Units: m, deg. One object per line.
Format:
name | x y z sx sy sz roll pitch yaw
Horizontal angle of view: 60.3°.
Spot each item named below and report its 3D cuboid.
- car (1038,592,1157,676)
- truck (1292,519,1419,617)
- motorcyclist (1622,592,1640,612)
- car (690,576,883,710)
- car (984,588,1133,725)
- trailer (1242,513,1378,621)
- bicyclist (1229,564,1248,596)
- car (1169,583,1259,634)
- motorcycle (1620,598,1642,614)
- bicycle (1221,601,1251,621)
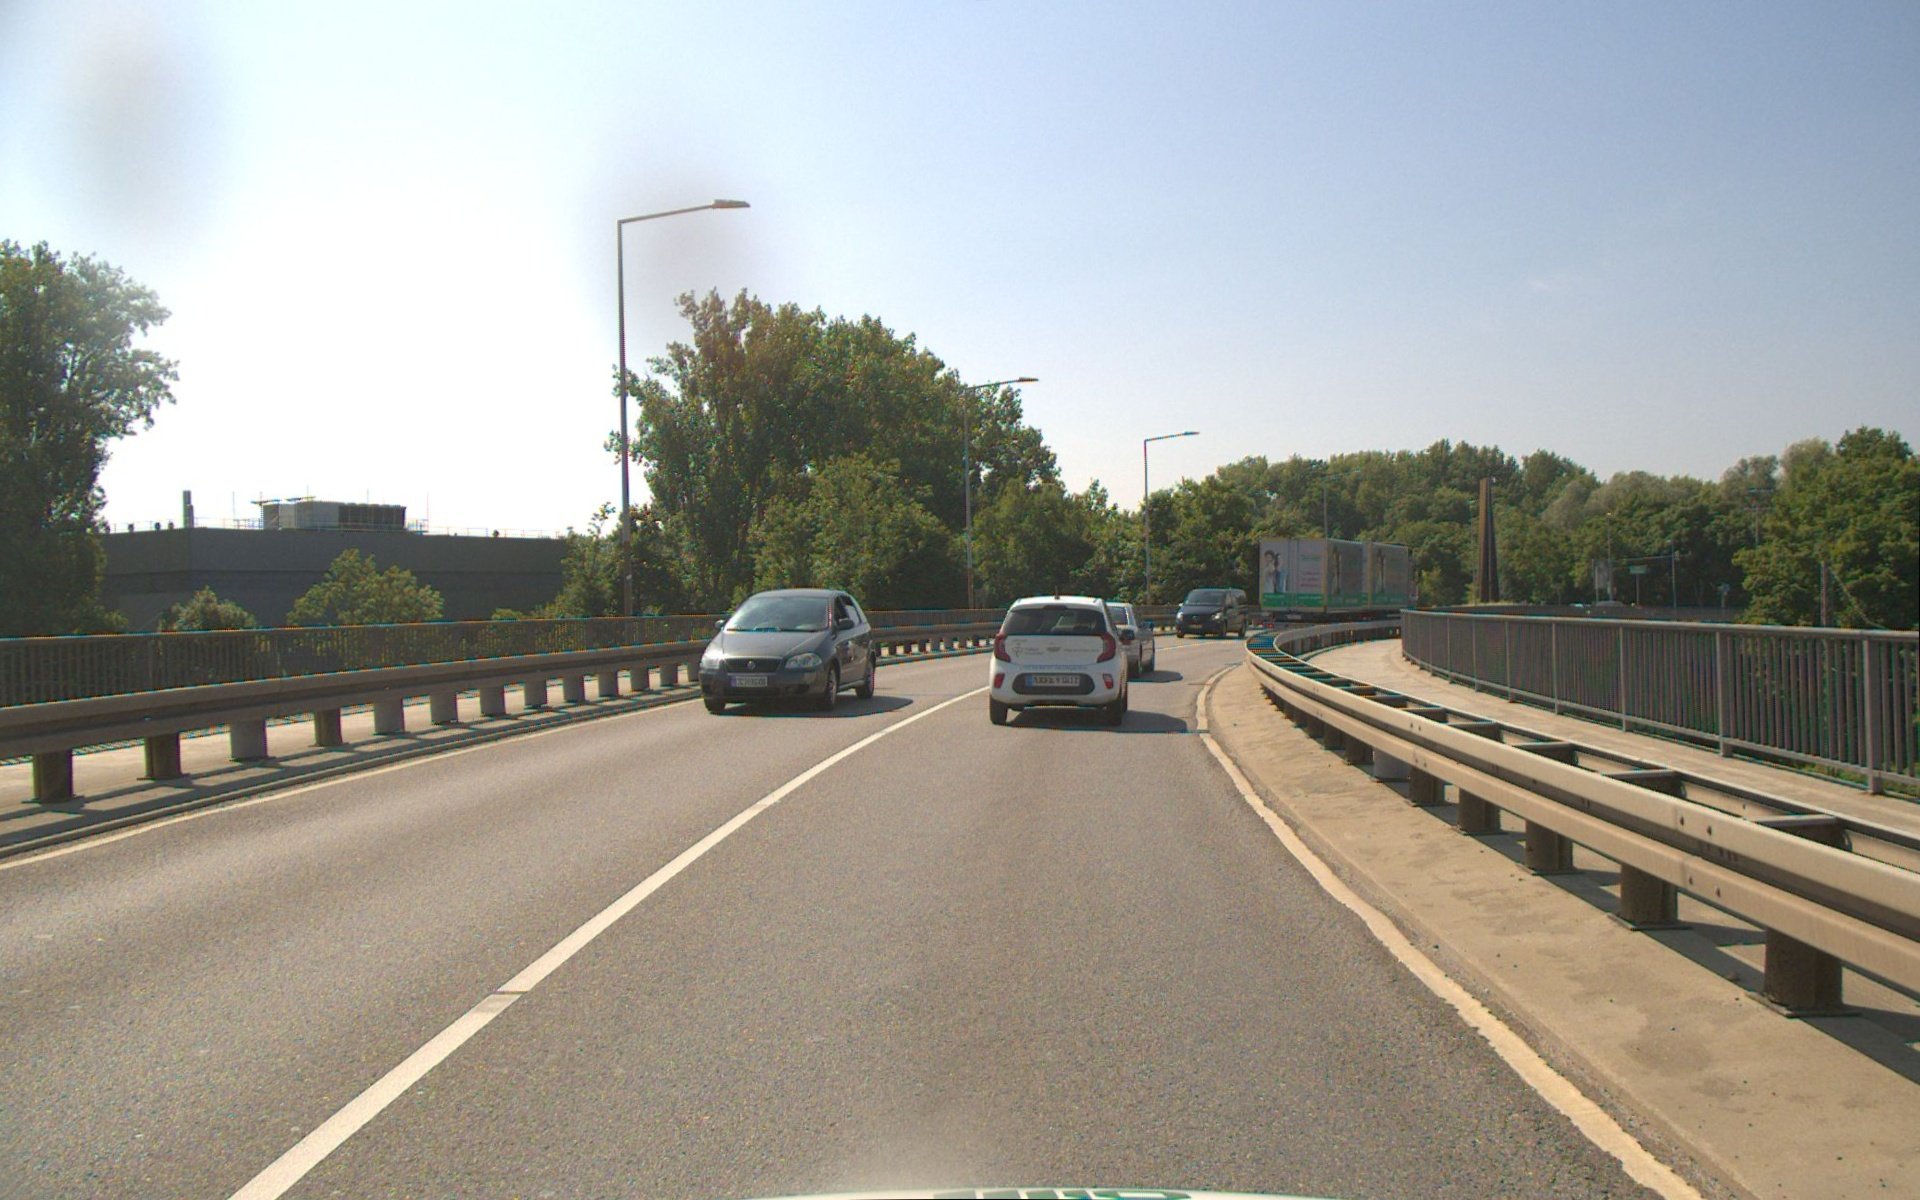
car | 2.809 0.606 32.789 1.897 1.512 4.904 1 0 10
truck | 16.877 -1.363 70.122 3.198 3.823 8.360 3 2 27
motorcyclist | 65.140 0.234 160.525 0.876 1.903 1.456 1 -1 -20
car | -2.275 0.512 22.806 1.695 1.653 4.307 0 1 7
car | 1.332 0.660 20.973 1.665 1.520 4.003 2 0 6
trailer | 13.541 -1.268 63.425 3.162 3.823 7.817 3 2 26
bicyclist | 13.412 -0.987 79.656 0.647 1.522 1.015 1 2 28
car | 10.037 0.338 64.911 2.033 1.921 5.912 1 0 23
motorcycle | 65.118 0.579 160.530 0.883 1.556 1.971 1 -1 -20
bicycle | 13.320 0.526 79.673 0.910 0.906 1.965 0 1 26
